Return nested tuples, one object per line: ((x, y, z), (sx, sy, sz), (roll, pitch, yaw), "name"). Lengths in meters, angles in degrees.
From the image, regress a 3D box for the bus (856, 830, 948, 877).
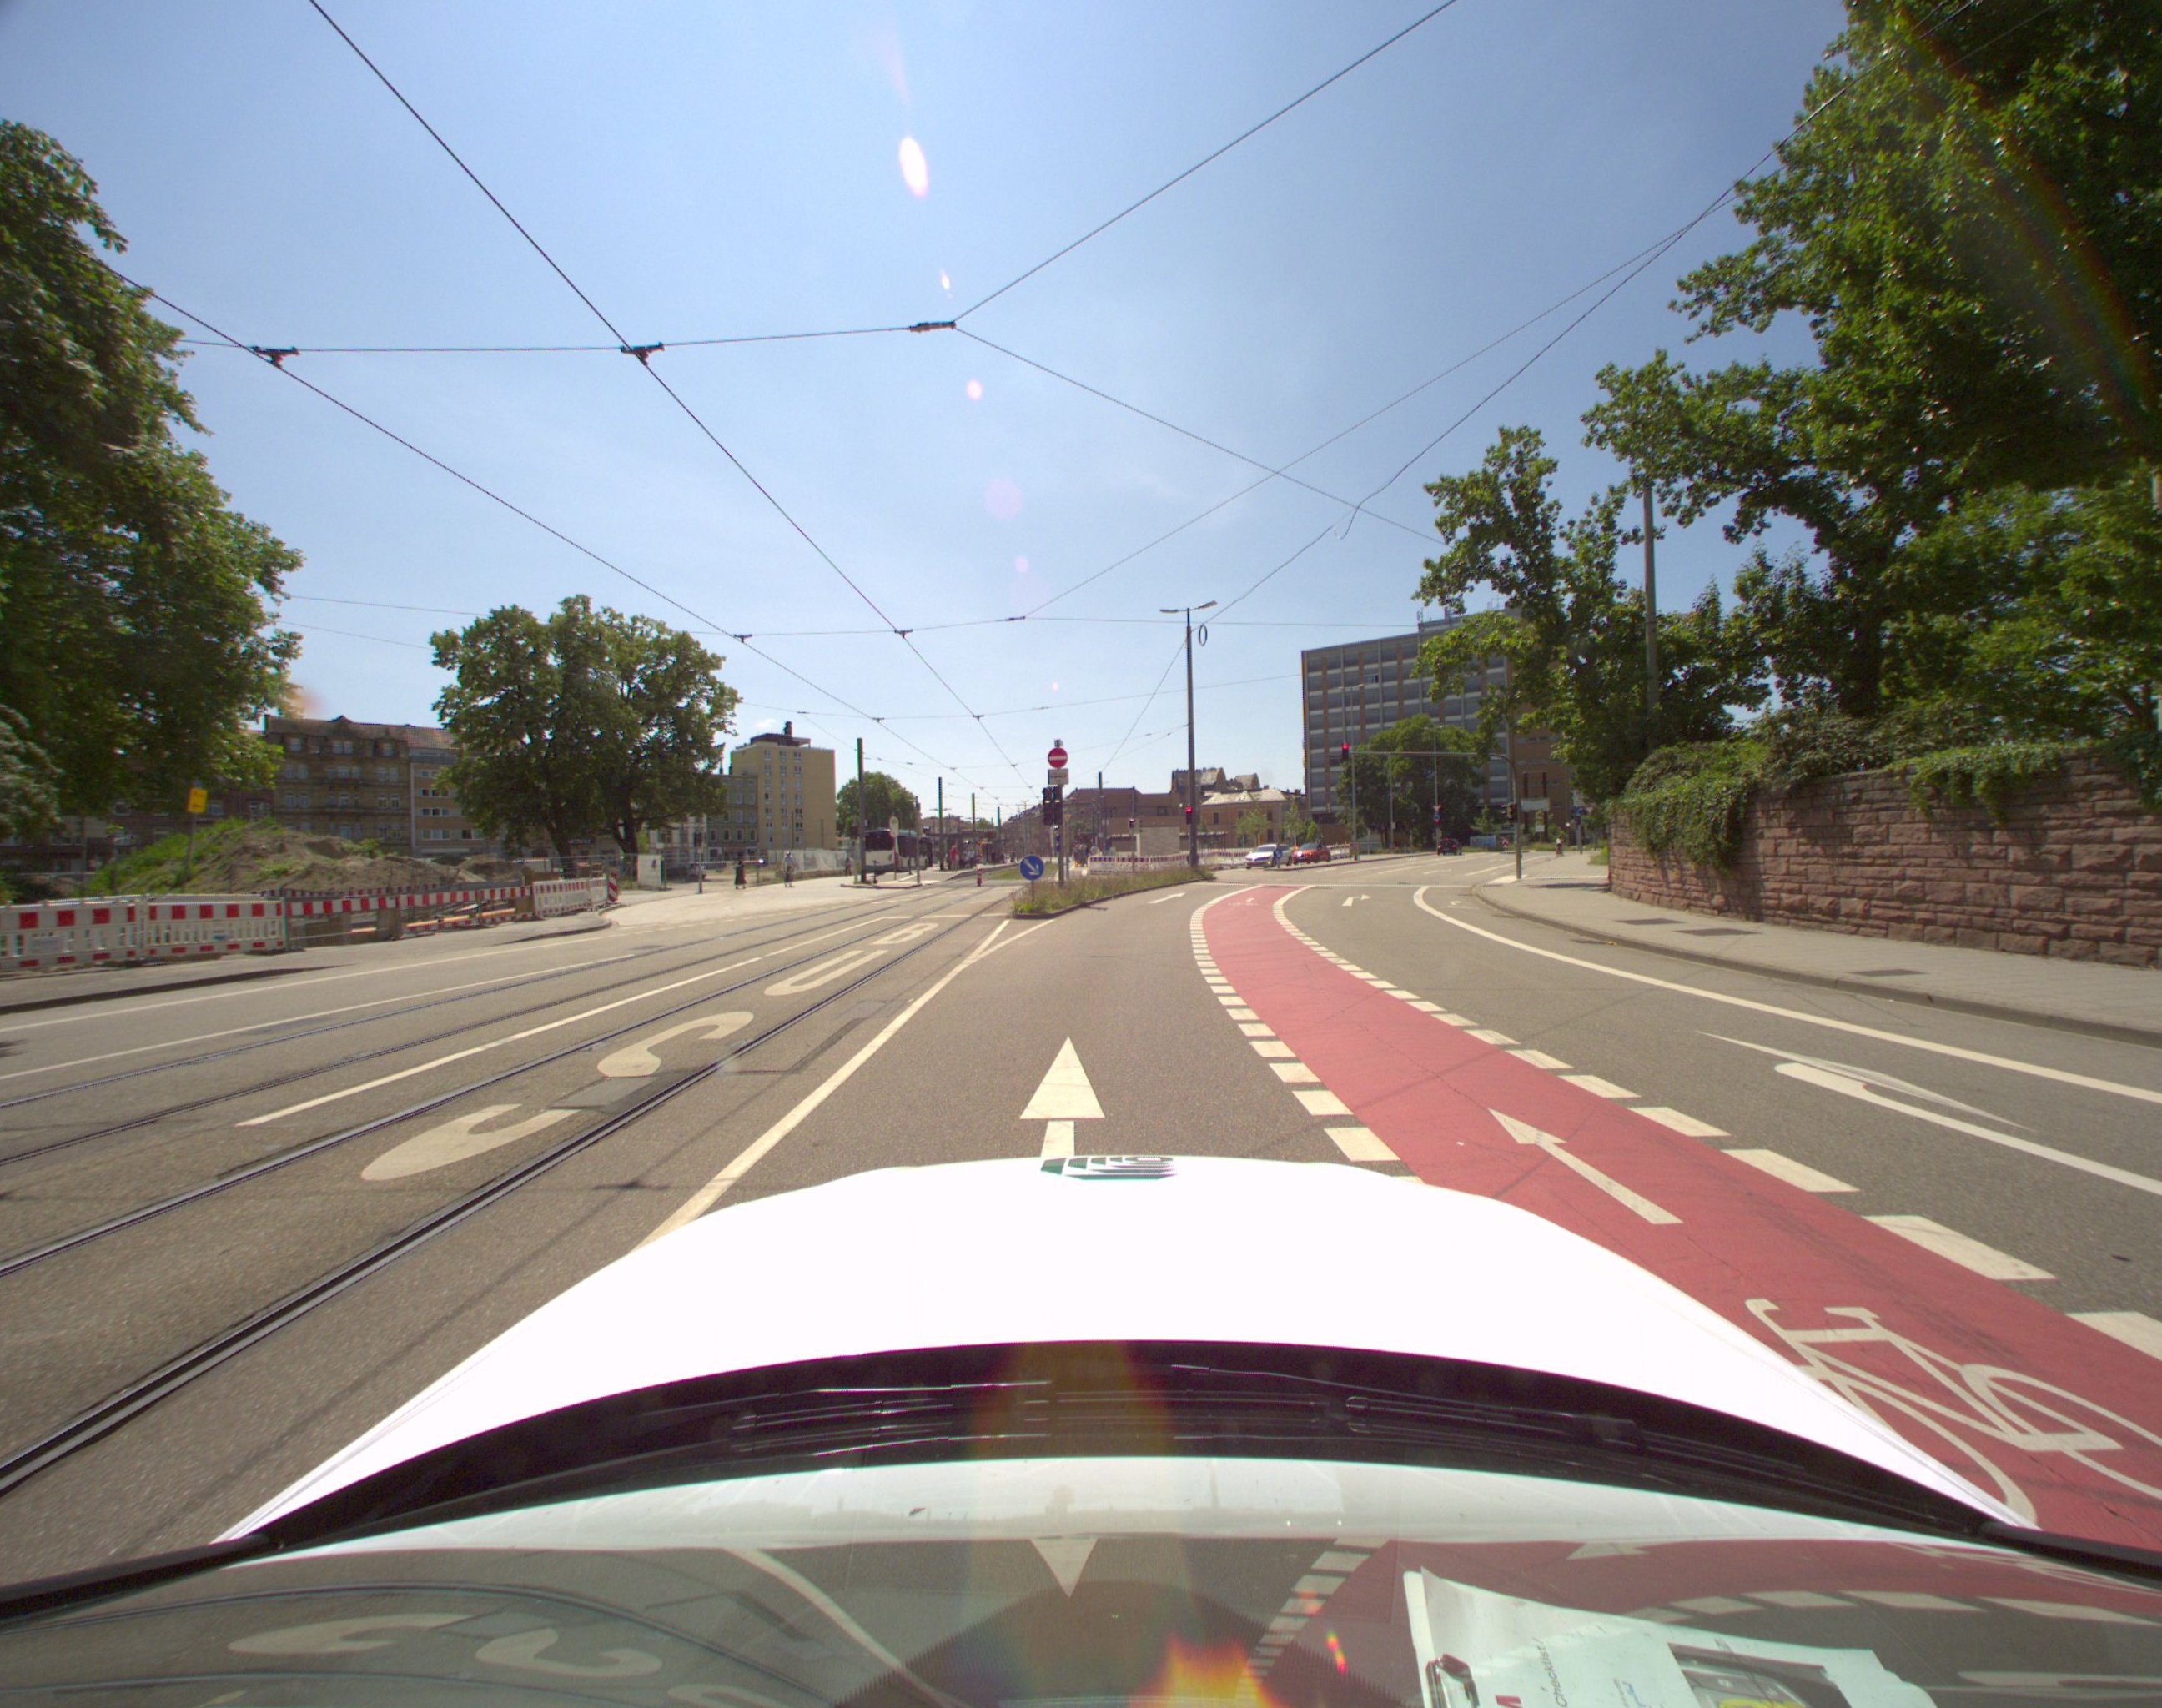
((-13.719, -0.079, 64.762), (2.999, 3.157, 17.502), (-2, 0, 1), "bus")

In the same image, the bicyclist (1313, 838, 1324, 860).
((18.588, -0.409, 63.794), (0.561, 1.719, 0.510), (-3, 0, 42), "bicyclist")

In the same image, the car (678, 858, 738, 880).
((-31.073, 1.266, 67.836), (4.154, 1.649, 1.858), (-2, 0, 12), "car")

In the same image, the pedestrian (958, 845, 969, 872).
((-9.483, 0.344, 65.599), (0.824, 2.096, 0.639), (-2, 0, -11), "pedestrian")

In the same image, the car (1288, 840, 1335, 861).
((16.263, -0.270, 57.370), (1.714, 1.425, 4.150), (-2, 0, 37), "car")

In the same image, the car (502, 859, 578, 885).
((-45.813, 1.489, 69.112), (2.093, 1.884, 5.064), (-2, 0, 20), "car")

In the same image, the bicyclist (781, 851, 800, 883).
((-15.715, 0.683, 44.020), (0.821, 1.709, 0.767), (-2, 0, -11), "bicyclist")

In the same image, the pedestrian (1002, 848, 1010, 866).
((-8.923, 0.370, 96.678), (0.826, 2.096, 0.902), (-2, 0, 0), "pedestrian")

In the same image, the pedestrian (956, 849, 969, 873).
((-9.182, 0.549, 63.045), (0.911, 1.851, 0.656), (-2, 0, -10), "pedestrian")

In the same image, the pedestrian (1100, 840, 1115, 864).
((2.066, -0.124, 63.574), (0.978, 1.832, 0.630), (-2, 0, -14), "pedestrian")

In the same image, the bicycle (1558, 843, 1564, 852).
((37.012, -0.473, 62.774), (0.373, 0.646, 1.655), (-2, 0, 29), "bicycle")

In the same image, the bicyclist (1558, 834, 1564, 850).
((37.001, -0.907, 62.761), (0.348, 1.227, 0.567), (-2, 0, 29), "bicyclist")

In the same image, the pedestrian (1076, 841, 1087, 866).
((0.021, -0.034, 63.621), (0.717, 1.923, 1.072), (-1, -1, -4), "pedestrian")

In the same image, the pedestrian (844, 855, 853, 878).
((-18.090, 0.963, 63.417), (0.565, 1.705, 0.396), (-2, 0, -7), "pedestrian")

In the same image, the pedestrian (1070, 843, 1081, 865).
((-0.420, -0.015, 62.605), (0.727, 1.707, 0.741), (-1, -1, -11), "pedestrian")

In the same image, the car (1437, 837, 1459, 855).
((32.922, -0.732, 73.033), (1.673, 1.527, 3.712), (-2, 0, 26), "car")

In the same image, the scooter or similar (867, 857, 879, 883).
((-10.333, 0.787, 40.422), (0.318, 1.206, 1.247), (-2, 0, -4), "scooter or similar")

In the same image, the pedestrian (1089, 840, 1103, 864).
((1.163, -0.160, 62.361), (0.771, 1.864, 0.722), (-1, -1, -40), "pedestrian")

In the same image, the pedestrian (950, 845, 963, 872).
((-9.376, 0.349, 61.340), (0.941, 1.990, 1.025), (-2, 0, -9), "pedestrian")

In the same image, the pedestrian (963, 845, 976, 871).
((-9.111, 0.320, 66.457), (0.899, 2.096, 0.828), (-2, 0, -11), "pedestrian")

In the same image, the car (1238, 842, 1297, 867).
((11.787, 0.016, 51.120), (1.974, 1.438, 4.735), (-2, 0, 34), "car")

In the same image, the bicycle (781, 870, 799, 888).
((-15.699, 1.341, 43.973), (0.503, 0.914, 2.362), (-2, 0, -11), "bicycle")

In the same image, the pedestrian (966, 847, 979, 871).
((-9.852, 0.457, 73.993), (0.895, 2.096, 0.833), (-2, 0, 5), "pedestrian")

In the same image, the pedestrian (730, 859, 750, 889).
((-18.799, 1.103, 44.949), (0.602, 1.602, 0.828), (-2, 0, 10), "pedestrian")

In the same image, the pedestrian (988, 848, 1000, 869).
((-8.762, 0.479, 82.055), (0.895, 2.096, 0.833), (-2, 0, 5), "pedestrian")

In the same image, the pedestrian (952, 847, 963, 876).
((-8.313, 0.473, 54.720), (0.672, 1.909, 0.638), (-2, 0, -9), "pedestrian")
